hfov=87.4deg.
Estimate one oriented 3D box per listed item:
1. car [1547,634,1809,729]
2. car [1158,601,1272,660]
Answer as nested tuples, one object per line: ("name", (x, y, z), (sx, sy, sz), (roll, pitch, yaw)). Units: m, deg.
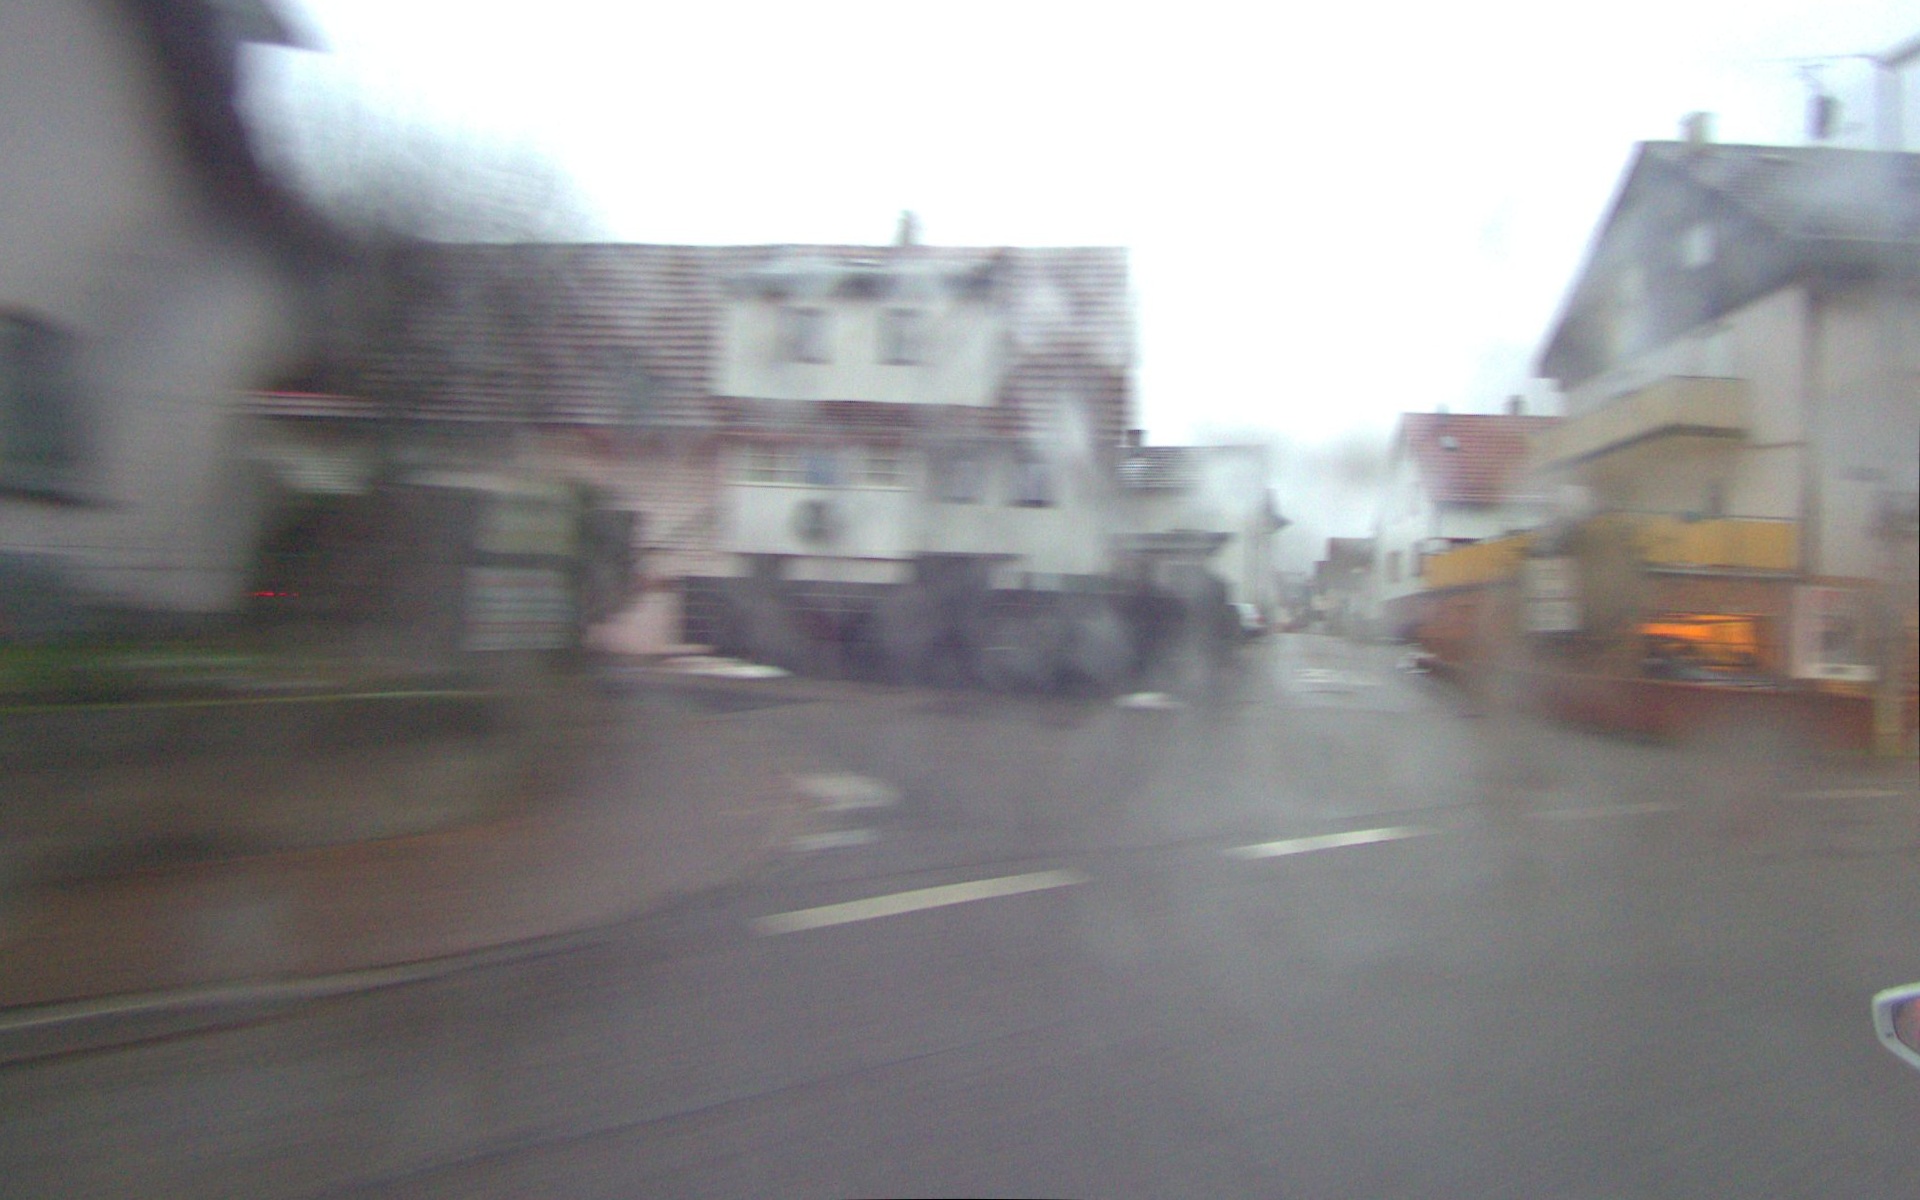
("car", (12.803, 1.386, 18.265), (1.879, 1.435, 4.000), (1, -1, 0))
("car", (9.824, 1.166, 38.968), (3.919, 2.040, 2.001), (3, 0, 5))
